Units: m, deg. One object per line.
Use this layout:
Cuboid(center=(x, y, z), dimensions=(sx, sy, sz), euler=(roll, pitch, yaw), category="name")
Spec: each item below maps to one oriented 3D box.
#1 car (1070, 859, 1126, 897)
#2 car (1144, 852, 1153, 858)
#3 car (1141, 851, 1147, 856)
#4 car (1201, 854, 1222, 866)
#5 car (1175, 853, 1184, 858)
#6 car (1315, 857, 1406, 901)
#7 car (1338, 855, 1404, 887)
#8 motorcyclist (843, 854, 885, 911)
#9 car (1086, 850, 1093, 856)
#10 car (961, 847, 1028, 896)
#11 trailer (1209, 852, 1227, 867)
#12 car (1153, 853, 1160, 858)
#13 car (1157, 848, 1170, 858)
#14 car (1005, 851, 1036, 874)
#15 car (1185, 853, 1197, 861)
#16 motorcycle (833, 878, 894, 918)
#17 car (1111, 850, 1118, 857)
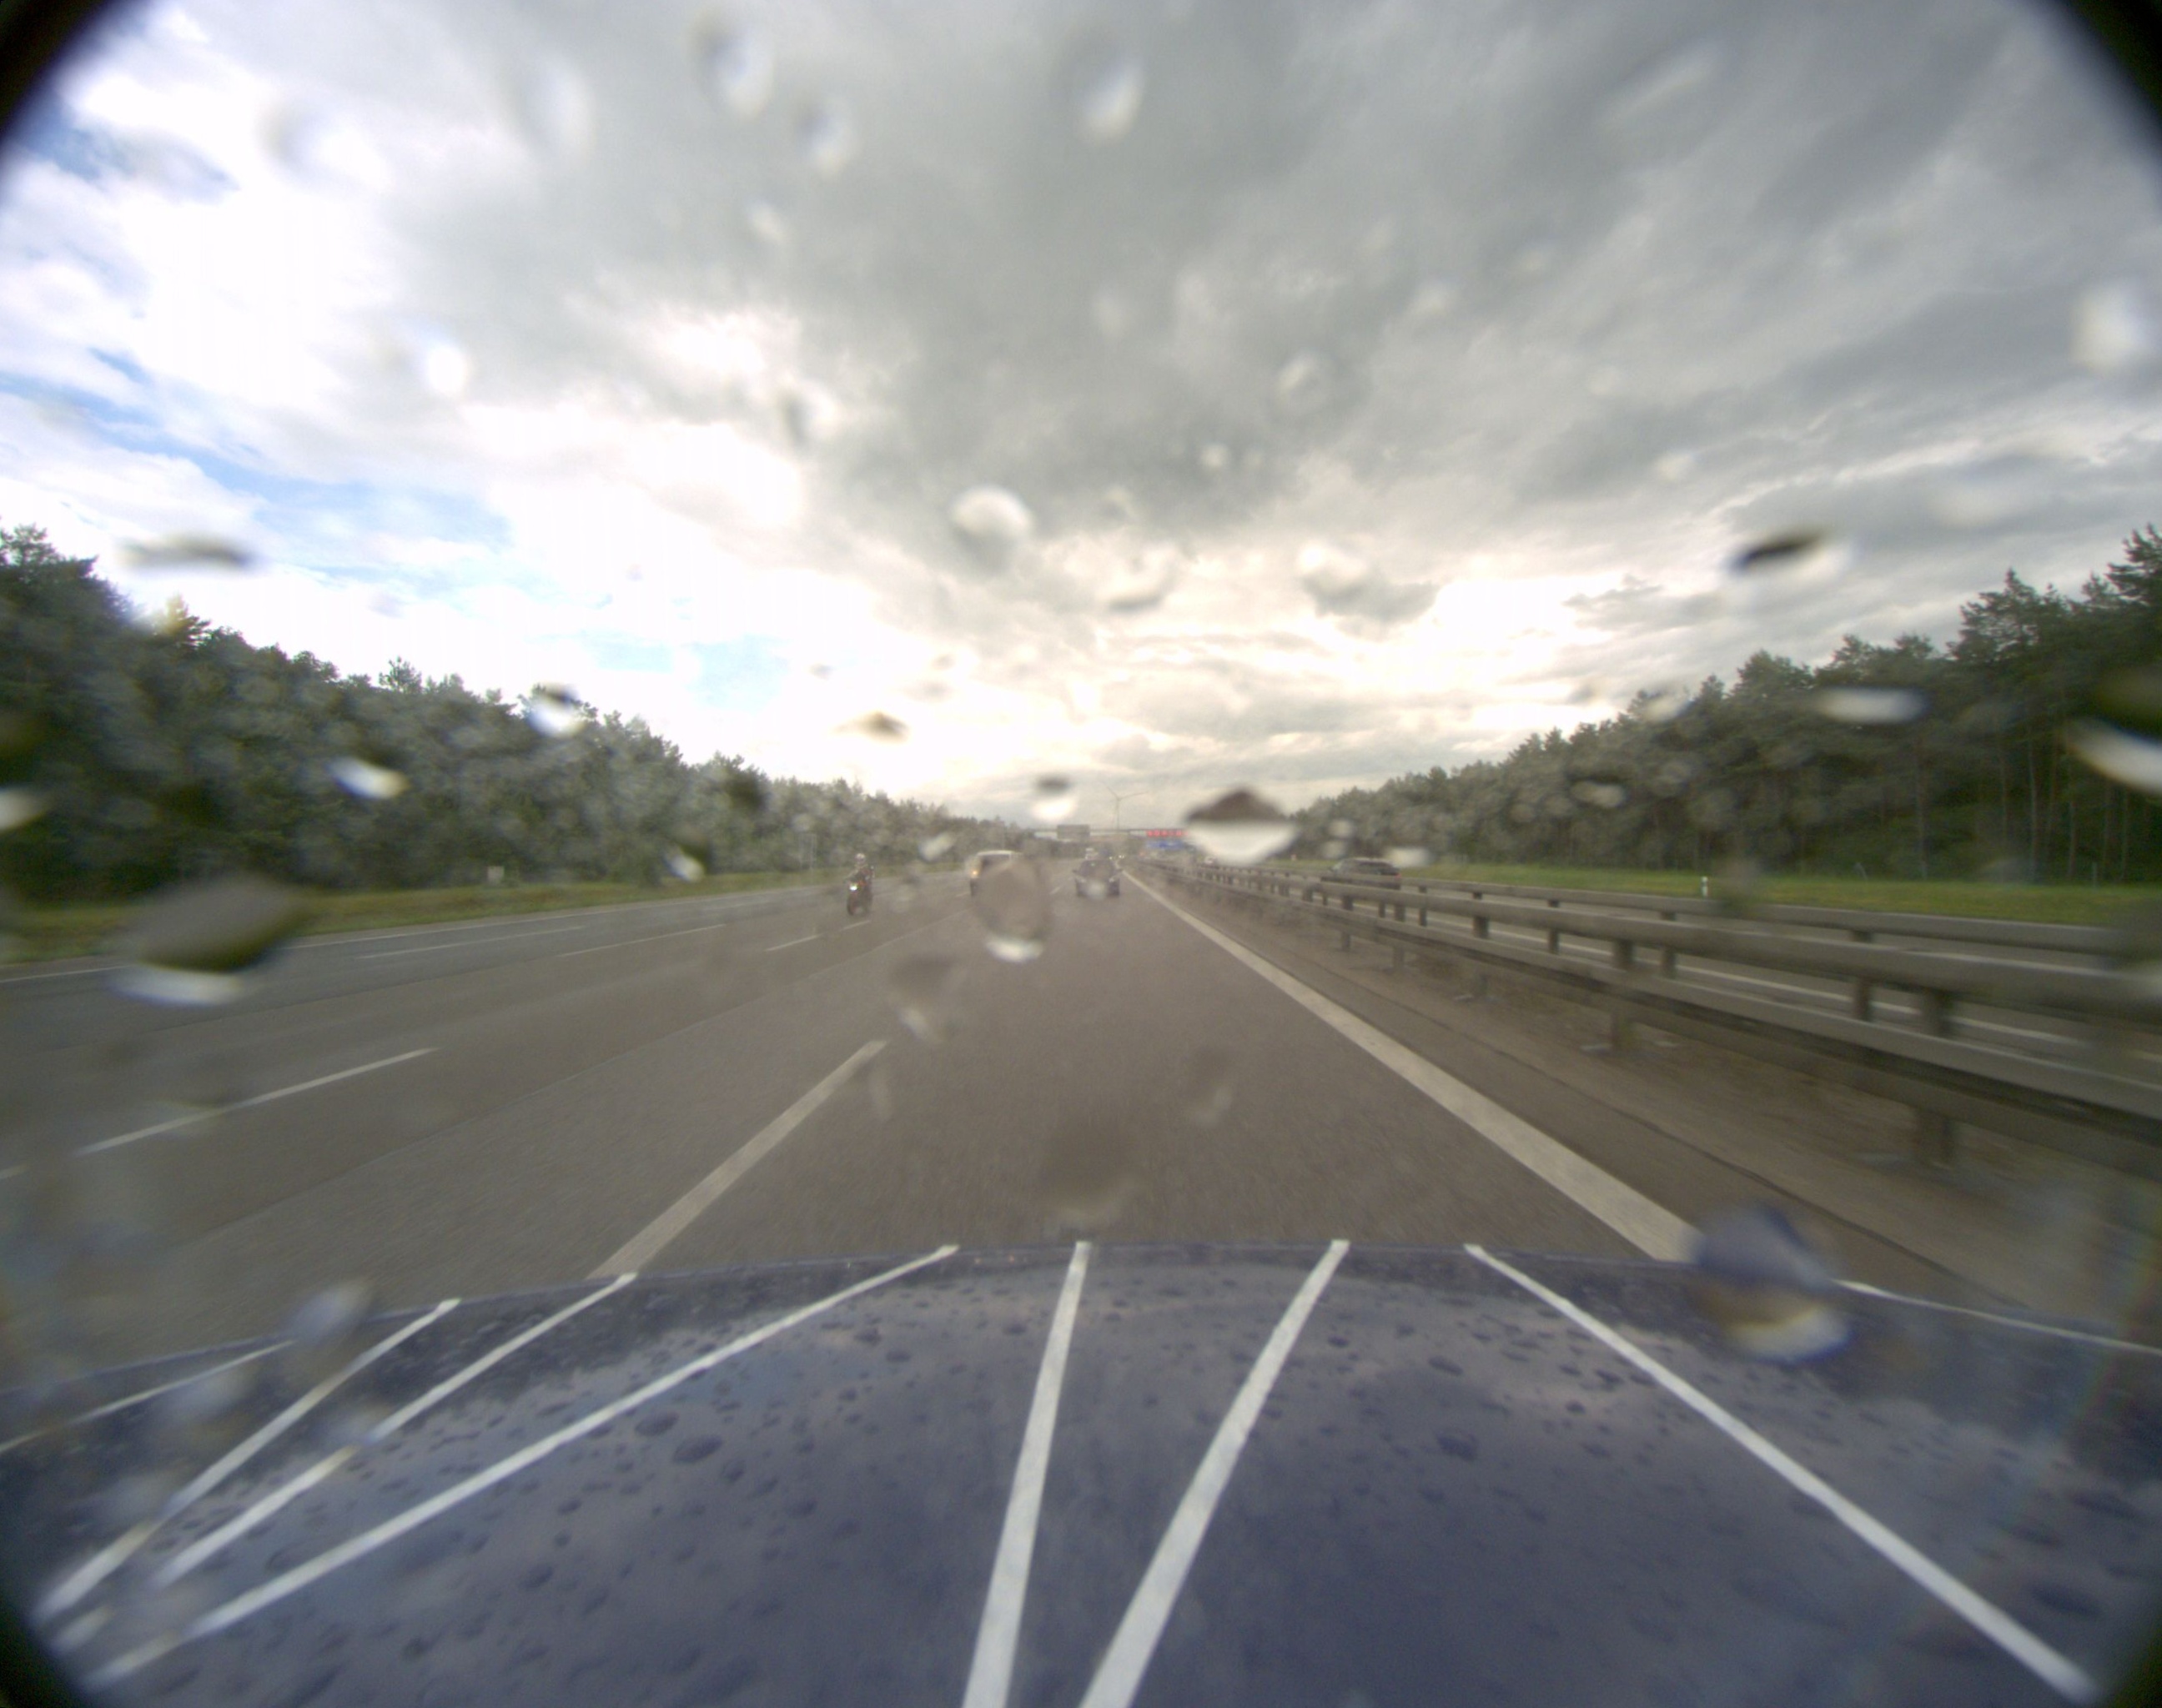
Cuboid(center=(0.745, 0.880, 29.621), dimensions=(1.809, 1.321, 4.433), euler=(-1, 0, 6), category="car")
Cuboid(center=(15.558, 0.174, 175.168), dimensions=(1.697, 1.368, 4.000), euler=(-1, 0, 2), category="car")
Cuboid(center=(20.709, -0.047, 249.515), dimensions=(1.794, 1.533, 3.722), euler=(1, 0, 3), category="car")
Cuboid(center=(16.115, 0.771, 94.060), dimensions=(1.833, 1.412, 4.572), euler=(2, 0, -1), category="car")
Cuboid(center=(25.977, 0.446, 200.485), dimensions=(1.728, 1.388, 4.184), euler=(2, 0, 2), category="car")
Cuboid(center=(9.938, 0.854, 27.355), dimensions=(1.732, 1.381, 4.092), euler=(1, 0, 0), category="car")
Cuboid(center=(14.285, 0.813, 37.705), dimensions=(1.732, 1.472, 3.999), euler=(0, 0, 0), category="car")
Cuboid(center=(-6.329, 0.828, 22.202), dimensions=(0.893, 1.605, 0.959), euler=(-1, 1, 3), category="motorcyclist")
Cuboid(center=(2.761, -0.306, 248.431), dimensions=(1.998, 2.002, 4.001), euler=(0, 0, 3), category="car")
Cuboid(center=(-3.540, 0.681, 32.174), dimensions=(1.968, 1.890, 4.882), euler=(-1, 0, 3), category="car")
Cuboid(center=(16.205, 0.657, 90.159), dimensions=(1.484, 1.663, 3.208), euler=(1, 0, 0), category="trailer")
Cuboid(center=(23.286, 0.573, 234.731), dimensions=(1.757, 1.570, 3.848), euler=(-1, 0, 2), category="car")
Cuboid(center=(13.692, -0.183, 126.380), dimensions=(1.789, 1.538, 4.403), euler=(1, 0, 1), category="car")
Cuboid(center=(-5.656, 0.801, 71.698), dimensions=(1.998, 2.002, 5.485), euler=(-2, 0, 6), category="car")
Cuboid(center=(22.630, 0.603, 156.518), dimensions=(1.904, 1.539, 4.513), euler=(2, 0, 2), category="car")
Cuboid(center=(-6.313, 1.251, 22.197), dimensions=(1.002, 1.025, 2.174), euler=(-1, 0, 3), category="motorcycle")
Cuboid(center=(10.100, -0.176, 230.194), dimensions=(1.832, 1.838, 3.999), euler=(-2, 0, -1), category="car")
